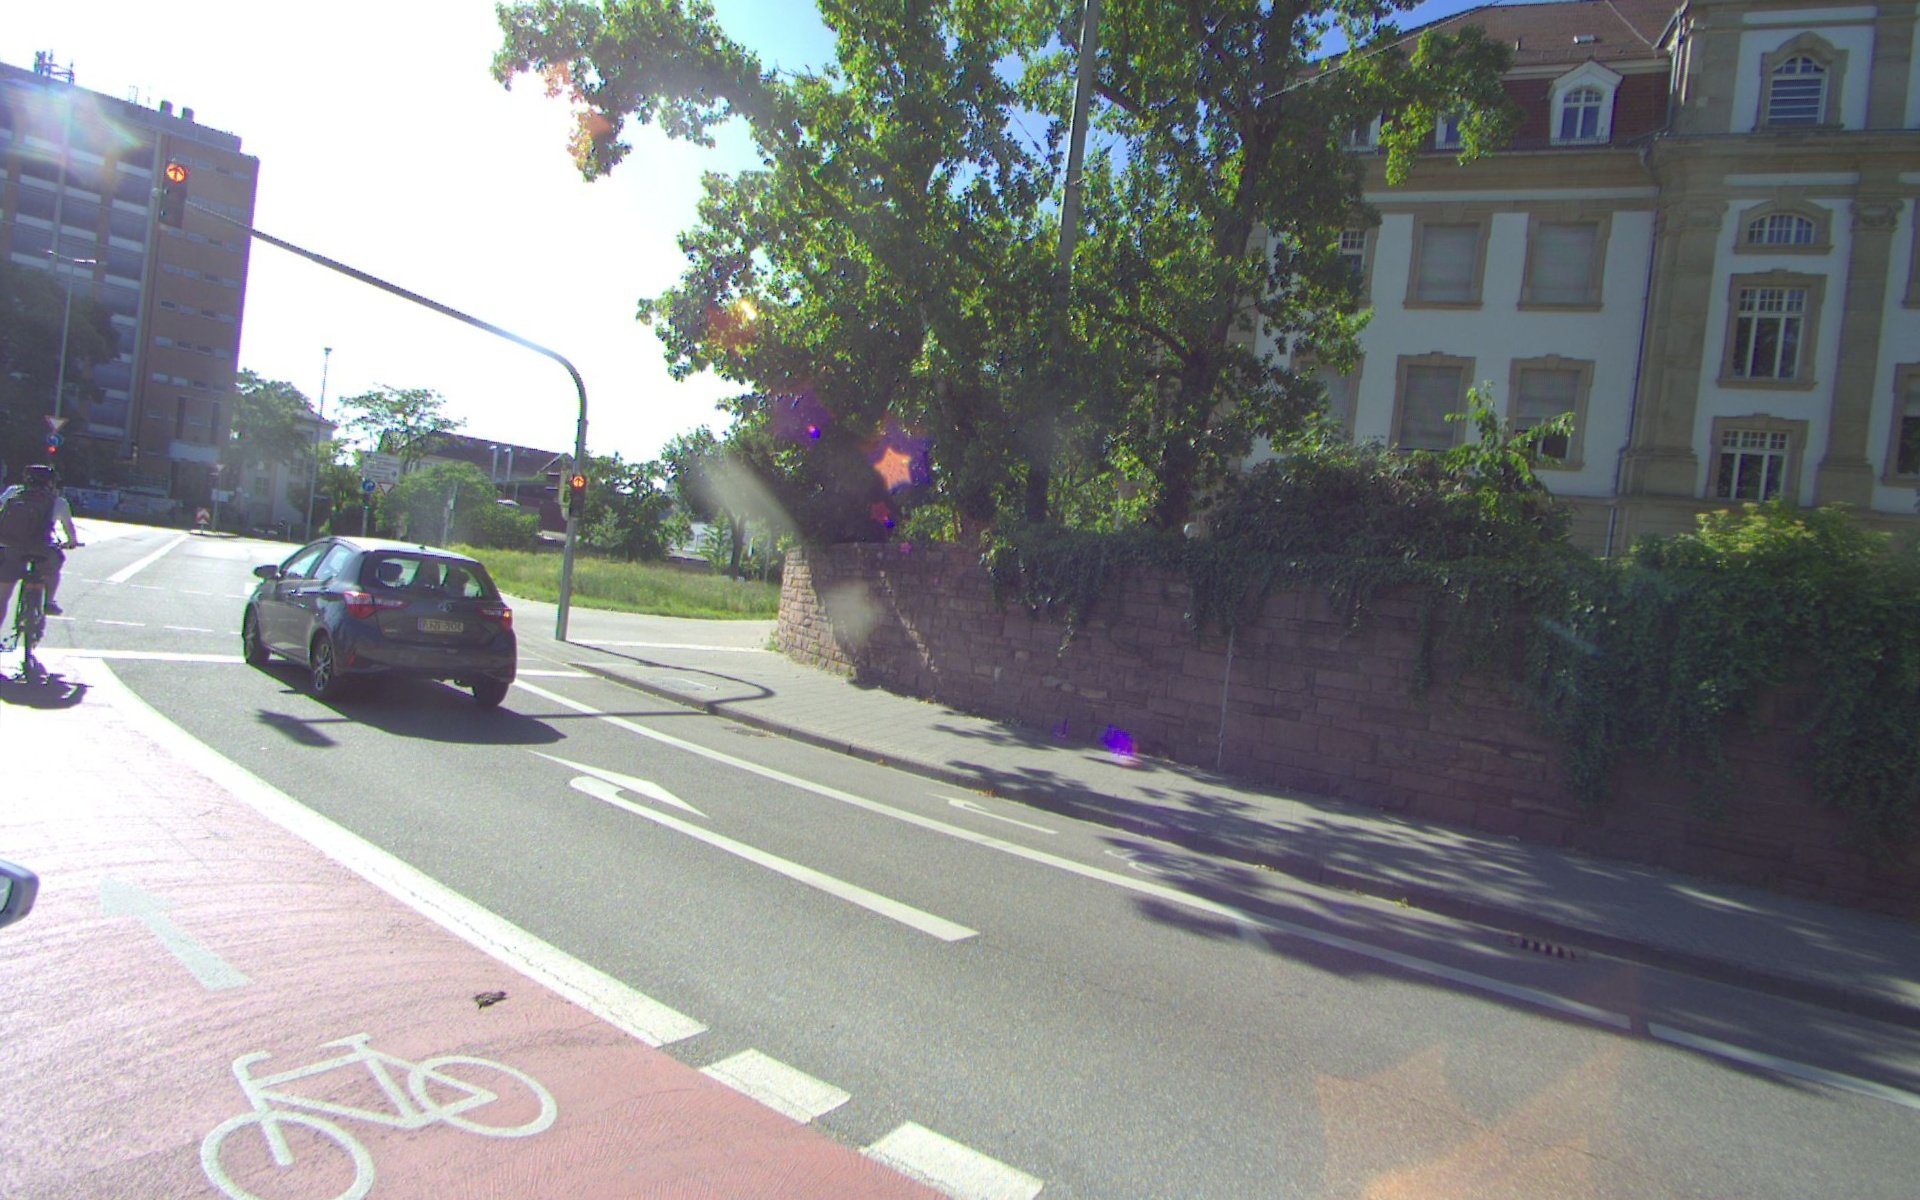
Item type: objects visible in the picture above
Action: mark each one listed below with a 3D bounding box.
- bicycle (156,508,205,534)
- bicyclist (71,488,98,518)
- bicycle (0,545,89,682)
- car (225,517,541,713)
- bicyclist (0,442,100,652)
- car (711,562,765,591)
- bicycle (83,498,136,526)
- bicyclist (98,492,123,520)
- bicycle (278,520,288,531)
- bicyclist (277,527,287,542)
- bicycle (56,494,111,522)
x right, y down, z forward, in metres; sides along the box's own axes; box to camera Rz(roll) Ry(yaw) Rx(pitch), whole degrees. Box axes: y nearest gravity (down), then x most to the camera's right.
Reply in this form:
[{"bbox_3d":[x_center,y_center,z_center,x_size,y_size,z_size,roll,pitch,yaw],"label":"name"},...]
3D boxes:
[{"bbox_3d":[-59.891,-6.063,77.322,2.784,1.559,0.877,8,-2,-33],"label":"bicycle"},{"bbox_3d":[-63.127,-7.005,72.546,1.199,1.919,0.877,7,-1,-33],"label":"bicyclist"},{"bbox_3d":[-8.099,0.072,8.671,0.721,0.971,1.860,8,-1,-44],"label":"bicycle"},{"bbox_3d":[-6.104,0.103,10.477,3.609,1.560,1.753,7,-1,43],"label":"car"},{"bbox_3d":[-7.956,-0.457,8.592,0.720,1.645,1.042,8,0,-44],"label":"bicyclist"},{"bbox_3d":[-19.935,-2.069,90.337,4.309,2.037,1.988,7,-2,-26],"label":"car"},{"bbox_3d":[-63.109,-6.536,74.662,2.784,1.559,0.877,8,-2,-33],"label":"bicycle"},{"bbox_3d":[-63.056,-6.954,74.664,1.149,1.818,0.877,7,-1,-33],"label":"bicyclist"},{"bbox_3d":[-69.508,-7.634,103.304,0.603,1.106,1.660,6,1,-27],"label":"bicycle"},{"bbox_3d":[-69.602,-6.726,103.285,0.613,1.462,0.813,6,1,-28],"label":"bicyclist"},{"bbox_3d":[-63.184,-6.623,72.547,2.784,1.559,0.877,8,-2,-33],"label":"bicycle"}]
